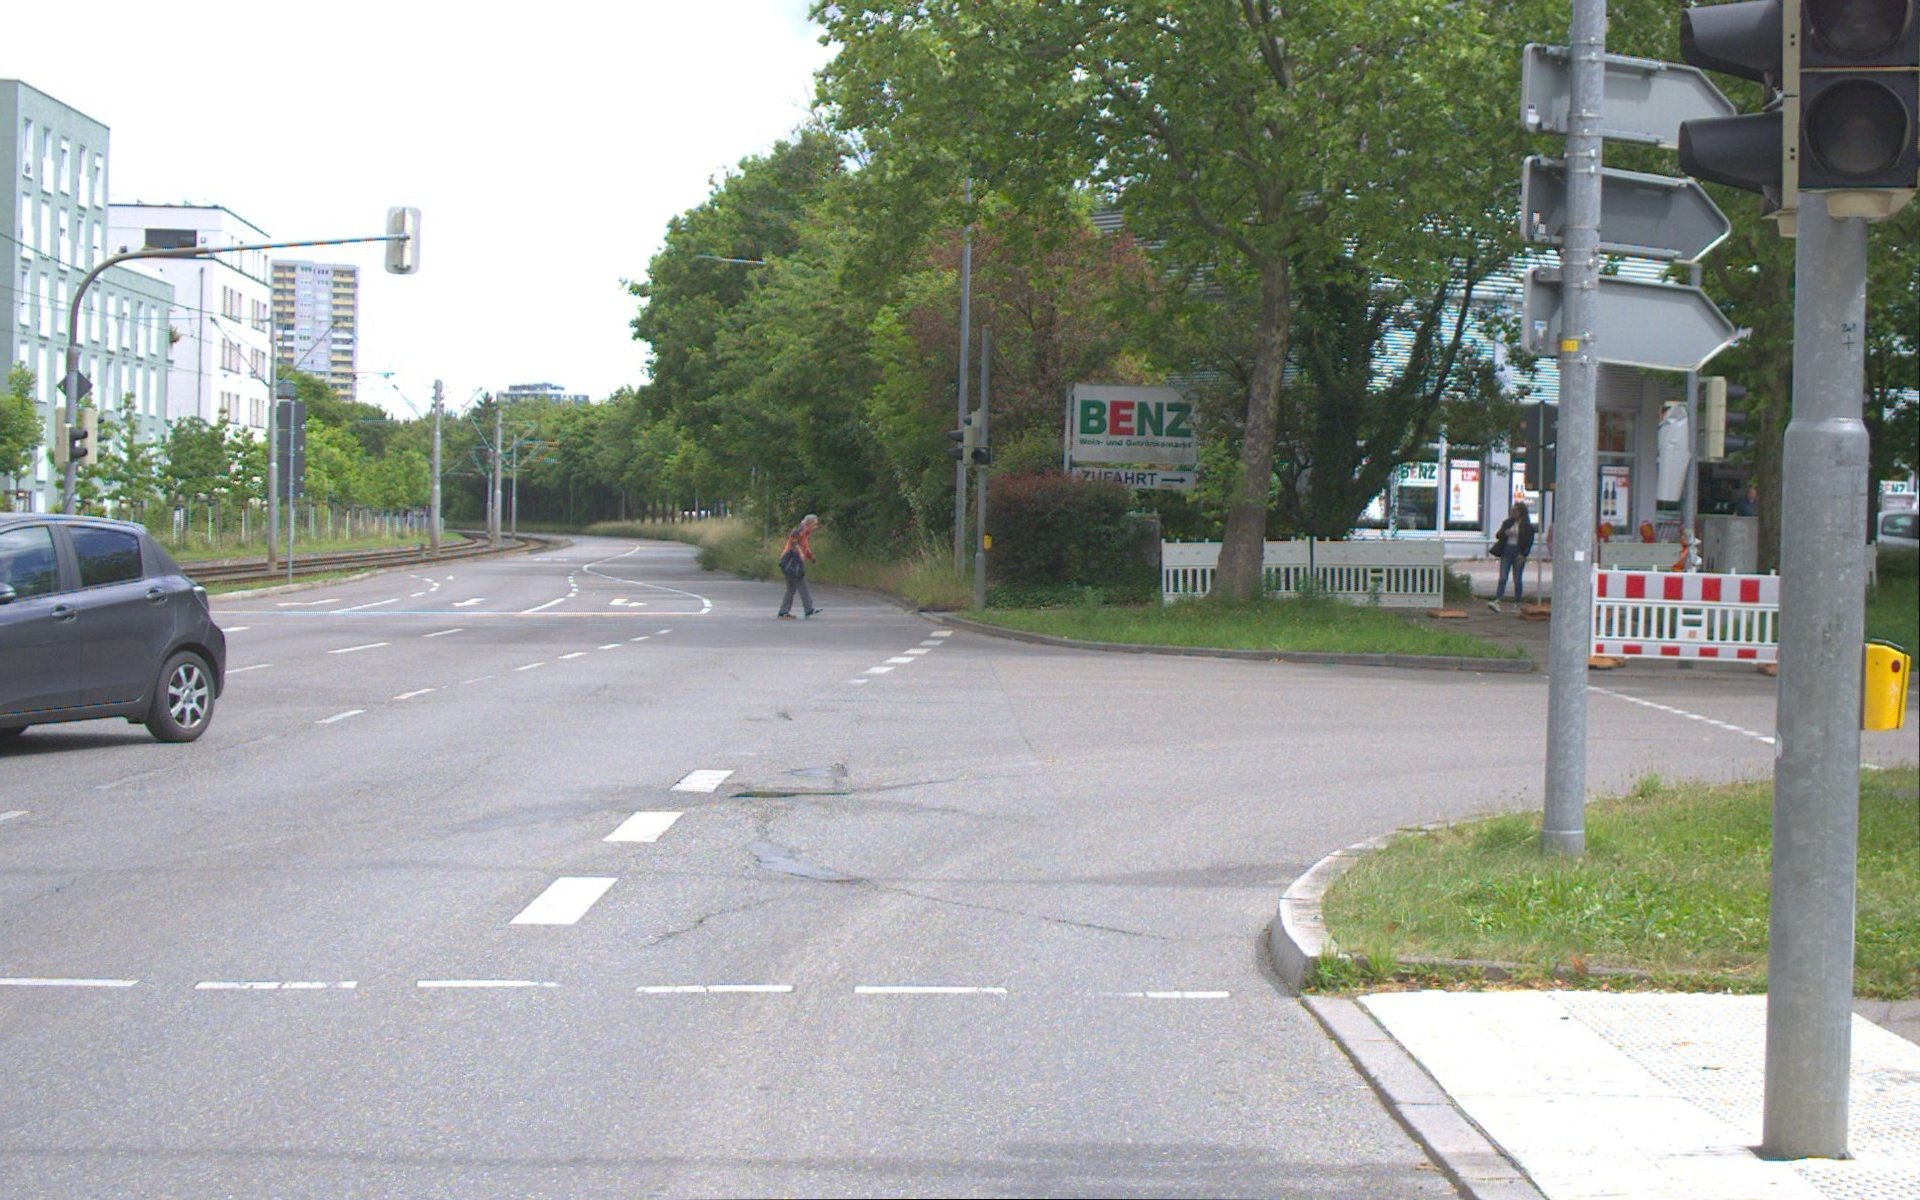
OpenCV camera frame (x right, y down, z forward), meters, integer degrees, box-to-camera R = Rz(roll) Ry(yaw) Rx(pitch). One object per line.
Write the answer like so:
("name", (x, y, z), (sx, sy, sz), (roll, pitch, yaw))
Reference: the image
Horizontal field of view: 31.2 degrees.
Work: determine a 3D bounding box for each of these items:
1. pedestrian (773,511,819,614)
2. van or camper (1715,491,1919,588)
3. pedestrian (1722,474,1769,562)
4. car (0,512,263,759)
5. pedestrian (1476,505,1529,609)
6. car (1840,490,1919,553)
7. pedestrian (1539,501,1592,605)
("pedestrian", (-2.473, -0.561, 51.889), (0.653, 1.533, 0.773), (1, 0, 0))
("van or camper", (15.666, -1.109, 61.996), (1.840, 1.678, 4.001), (-1, 2, -28))
("pedestrian", (17.845, -1.857, 78.100), (0.804, 1.995, 0.853), (1, 0, -5))
("car", (-6.307, 0.189, 21.263), (1.780, 1.464, 4.038), (1, 2, 27))
("pedestrian", (7.832, -0.622, 49.599), (0.718, 1.484, 0.699), (1, 0, 11))
("car", (21.824, -1.776, 78.218), (1.480, 1.399, 3.409), (1, 1, -31))
("pedestrian", (8.692, -0.673, 49.329), (0.686, 1.484, 0.699), (1, 0, 13))
